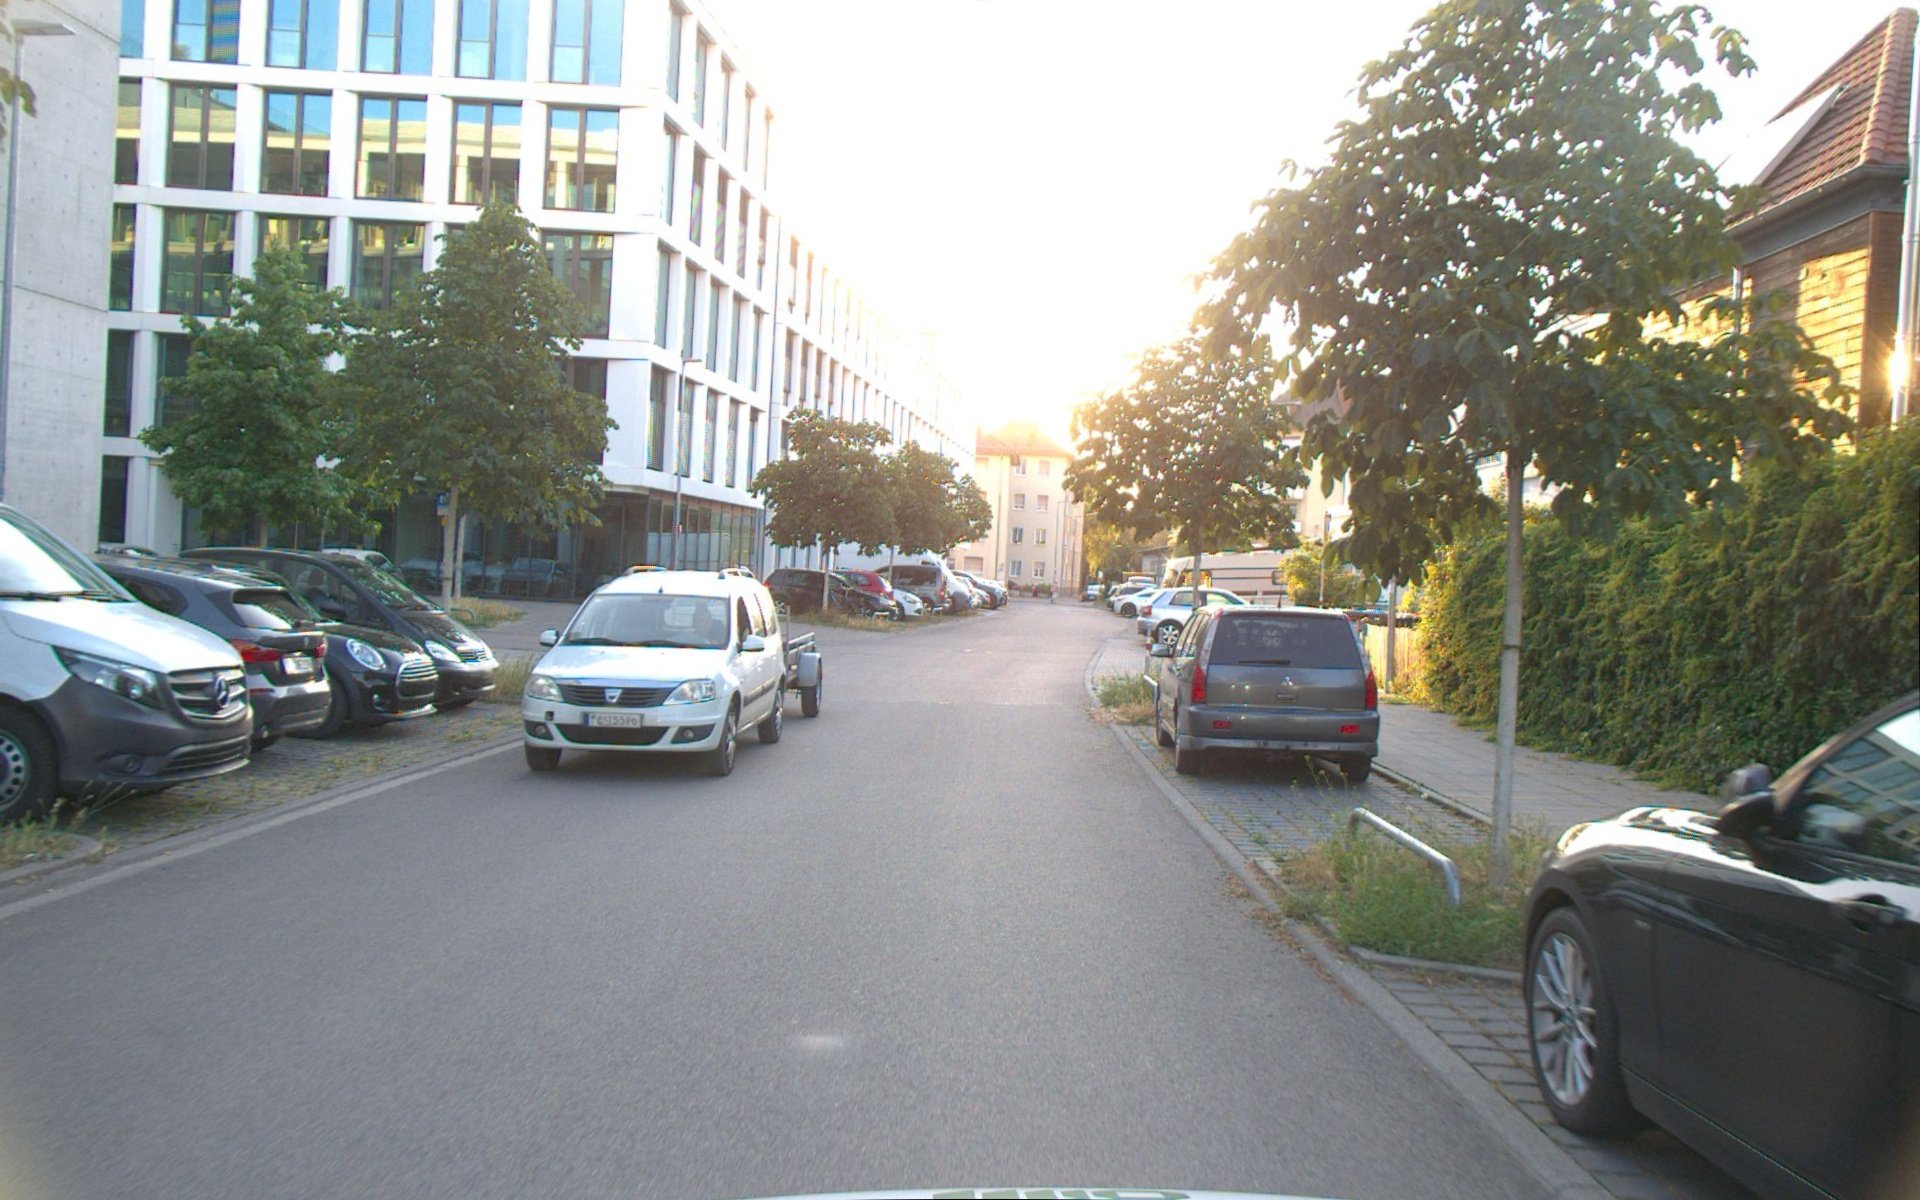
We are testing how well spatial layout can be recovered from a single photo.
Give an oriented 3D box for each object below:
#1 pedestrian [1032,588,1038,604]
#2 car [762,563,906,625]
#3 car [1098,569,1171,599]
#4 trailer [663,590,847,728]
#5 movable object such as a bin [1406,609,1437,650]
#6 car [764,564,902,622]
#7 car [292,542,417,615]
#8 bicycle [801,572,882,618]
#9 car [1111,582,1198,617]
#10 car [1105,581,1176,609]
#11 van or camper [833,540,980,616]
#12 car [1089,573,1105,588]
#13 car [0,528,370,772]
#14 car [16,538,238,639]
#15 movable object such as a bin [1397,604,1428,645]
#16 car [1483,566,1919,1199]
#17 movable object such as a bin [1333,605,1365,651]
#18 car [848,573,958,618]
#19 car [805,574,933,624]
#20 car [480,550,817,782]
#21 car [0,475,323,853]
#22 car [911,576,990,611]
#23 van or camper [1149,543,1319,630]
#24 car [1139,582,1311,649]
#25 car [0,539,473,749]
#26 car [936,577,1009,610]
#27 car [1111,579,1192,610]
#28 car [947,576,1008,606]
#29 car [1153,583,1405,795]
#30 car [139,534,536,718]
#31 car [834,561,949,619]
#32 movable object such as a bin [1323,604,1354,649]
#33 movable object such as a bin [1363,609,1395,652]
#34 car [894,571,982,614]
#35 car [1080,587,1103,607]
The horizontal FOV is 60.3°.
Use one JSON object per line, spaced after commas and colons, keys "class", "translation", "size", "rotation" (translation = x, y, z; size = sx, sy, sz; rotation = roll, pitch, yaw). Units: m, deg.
{"class": "pedestrian", "translation": [6.594, -0.353, 145.756], "size": [0.490, 1.403, 0.455], "rotation": [2, 1, 4]}
{"class": "car", "translation": [-3.705, -0.194, 49.037], "size": [3.966, 1.504, 1.769], "rotation": [4, 2, 3]}
{"class": "car", "translation": [10.644, -0.978, 101.116], "size": [4.252, 1.672, 1.816], "rotation": [1, 2, 1]}
{"class": "trailer", "translation": [-2.336, 0.630, 19.663], "size": [1.670, 1.372, 3.488], "rotation": [2, 1, 1]}
{"class": "movable object such as a bin", "translation": [11.480, 0.729, 41.159], "size": [0.566, 0.975, 0.689], "rotation": [2, 1, 1]}
{"class": "car", "translation": [-3.952, -0.234, 51.934], "size": [3.965, 1.504, 1.769], "rotation": [4, 1, 6]}
{"class": "car", "translation": [-14.450, -0.556, 39.633], "size": [1.687, 1.511, 3.552], "rotation": [2, 3, -1]}
{"class": "bicycle", "translation": [-3.361, -0.139, 46.943], "size": [2.133, 1.194, 0.812], "rotation": [3, 1, 6]}
{"class": "car", "translation": [9.081, -0.026, 77.358], "size": [3.964, 1.504, 1.769], "rotation": [1, 2, 6]}
{"class": "car", "translation": [10.613, -0.314, 97.471], "size": [3.966, 1.504, 1.768], "rotation": [1, 2, 1]}
{"class": "van or camper", "translation": [-2.057, -0.861, 64.341], "size": [5.338, 2.526, 1.777], "rotation": [4, 2, 6]}
{"class": "car", "translation": [15.914, -2.273, 192.240], "size": [1.705, 1.551, 3.554], "rotation": [3, 1, 4]}
{"class": "car", "translation": [-6.787, 0.288, 12.591], "size": [3.908, 1.548, 1.605], "rotation": [5, 0, -2]}
{"class": "car", "translation": [-13.991, -0.169, 28.031], "size": [1.744, 1.512, 3.932], "rotation": [2, -1, -1]}
{"class": "movable object such as a bin", "translation": [11.507, 0.616, 42.071], "size": [0.566, 0.975, 0.689], "rotation": [2, 1, 1]}
{"class": "car", "translation": [2.581, 0.728, 3.330], "size": [1.658, 1.536, 4.192], "rotation": [2, 1, -1]}
{"class": "movable object such as a bin", "translation": [9.243, 0.667, 39.340], "size": [0.566, 1.028, 0.689], "rotation": [2, 1, 1]}
{"class": "car", "translation": [-2.117, -0.169, 61.838], "size": [3.965, 1.550, 1.737], "rotation": [1, 2, 3]}
{"class": "car", "translation": [-2.968, -0.042, 54.394], "size": [3.964, 1.504, 1.769], "rotation": [1, 2, 6]}
{"class": "car", "translation": [-2.577, 0.503, 14.936], "size": [1.912, 1.715, 4.723], "rotation": [1, 0, 3]}
{"class": "car", "translation": [-6.768, 0.174, 9.960], "size": [4.974, 1.980, 1.888], "rotation": [5, 0, -1]}
{"class": "car", "translation": [-0.444, -0.301, 76.599], "size": [3.484, 1.504, 1.459], "rotation": [1, 2, 6]}
{"class": "van or camper", "translation": [9.390, -0.490, 57.068], "size": [5.493, 2.838, 2.431], "rotation": [1, 2, 2]}
{"class": "car", "translation": [6.509, 0.370, 40.894], "size": [3.966, 1.504, 1.768], "rotation": [1, 2, 1]}
{"class": "car", "translation": [-6.660, 0.365, 15.145], "size": [3.808, 1.514, 1.651], "rotation": [5, 1, 0]}
{"class": "car", "translation": [0.634, -0.331, 82.476], "size": [3.484, 1.504, 1.459], "rotation": [1, 2, 6]}
{"class": "car", "translation": [9.814, -0.289, 85.039], "size": [3.966, 1.504, 1.768], "rotation": [1, 2, 1]}
{"class": "car", "translation": [0.904, -0.479, 84.814], "size": [2.951, 1.446, 1.459], "rotation": [1, 2, 6]}
{"class": "car", "translation": [2.780, 0.678, 15.342], "size": [1.688, 1.607, 4.600], "rotation": [2, 1, 4]}
{"class": "car", "translation": [-6.670, 0.257, 17.940], "size": [3.559, 1.604, 1.662], "rotation": [5, 1, 4]}
{"class": "car", "translation": [-2.425, -0.367, 59.342], "size": [3.965, 1.941, 1.737], "rotation": [1, 2, 3]}
{"class": "movable object such as a bin", "translation": [9.188, 0.640, 40.123], "size": [0.566, 1.028, 0.689], "rotation": [2, 1, 1]}
{"class": "movable object such as a bin", "translation": [10.038, 0.716, 39.620], "size": [0.566, 0.975, 0.689], "rotation": [2, 1, 1]}
{"class": "car", "translation": [-0.918, -0.325, 69.190], "size": [3.484, 1.680, 1.459], "rotation": [1, 2, 6]}
{"class": "car", "translation": [11.825, -0.291, 148.564], "size": [1.909, 1.612, 3.643], "rotation": [3, 1, 4]}
